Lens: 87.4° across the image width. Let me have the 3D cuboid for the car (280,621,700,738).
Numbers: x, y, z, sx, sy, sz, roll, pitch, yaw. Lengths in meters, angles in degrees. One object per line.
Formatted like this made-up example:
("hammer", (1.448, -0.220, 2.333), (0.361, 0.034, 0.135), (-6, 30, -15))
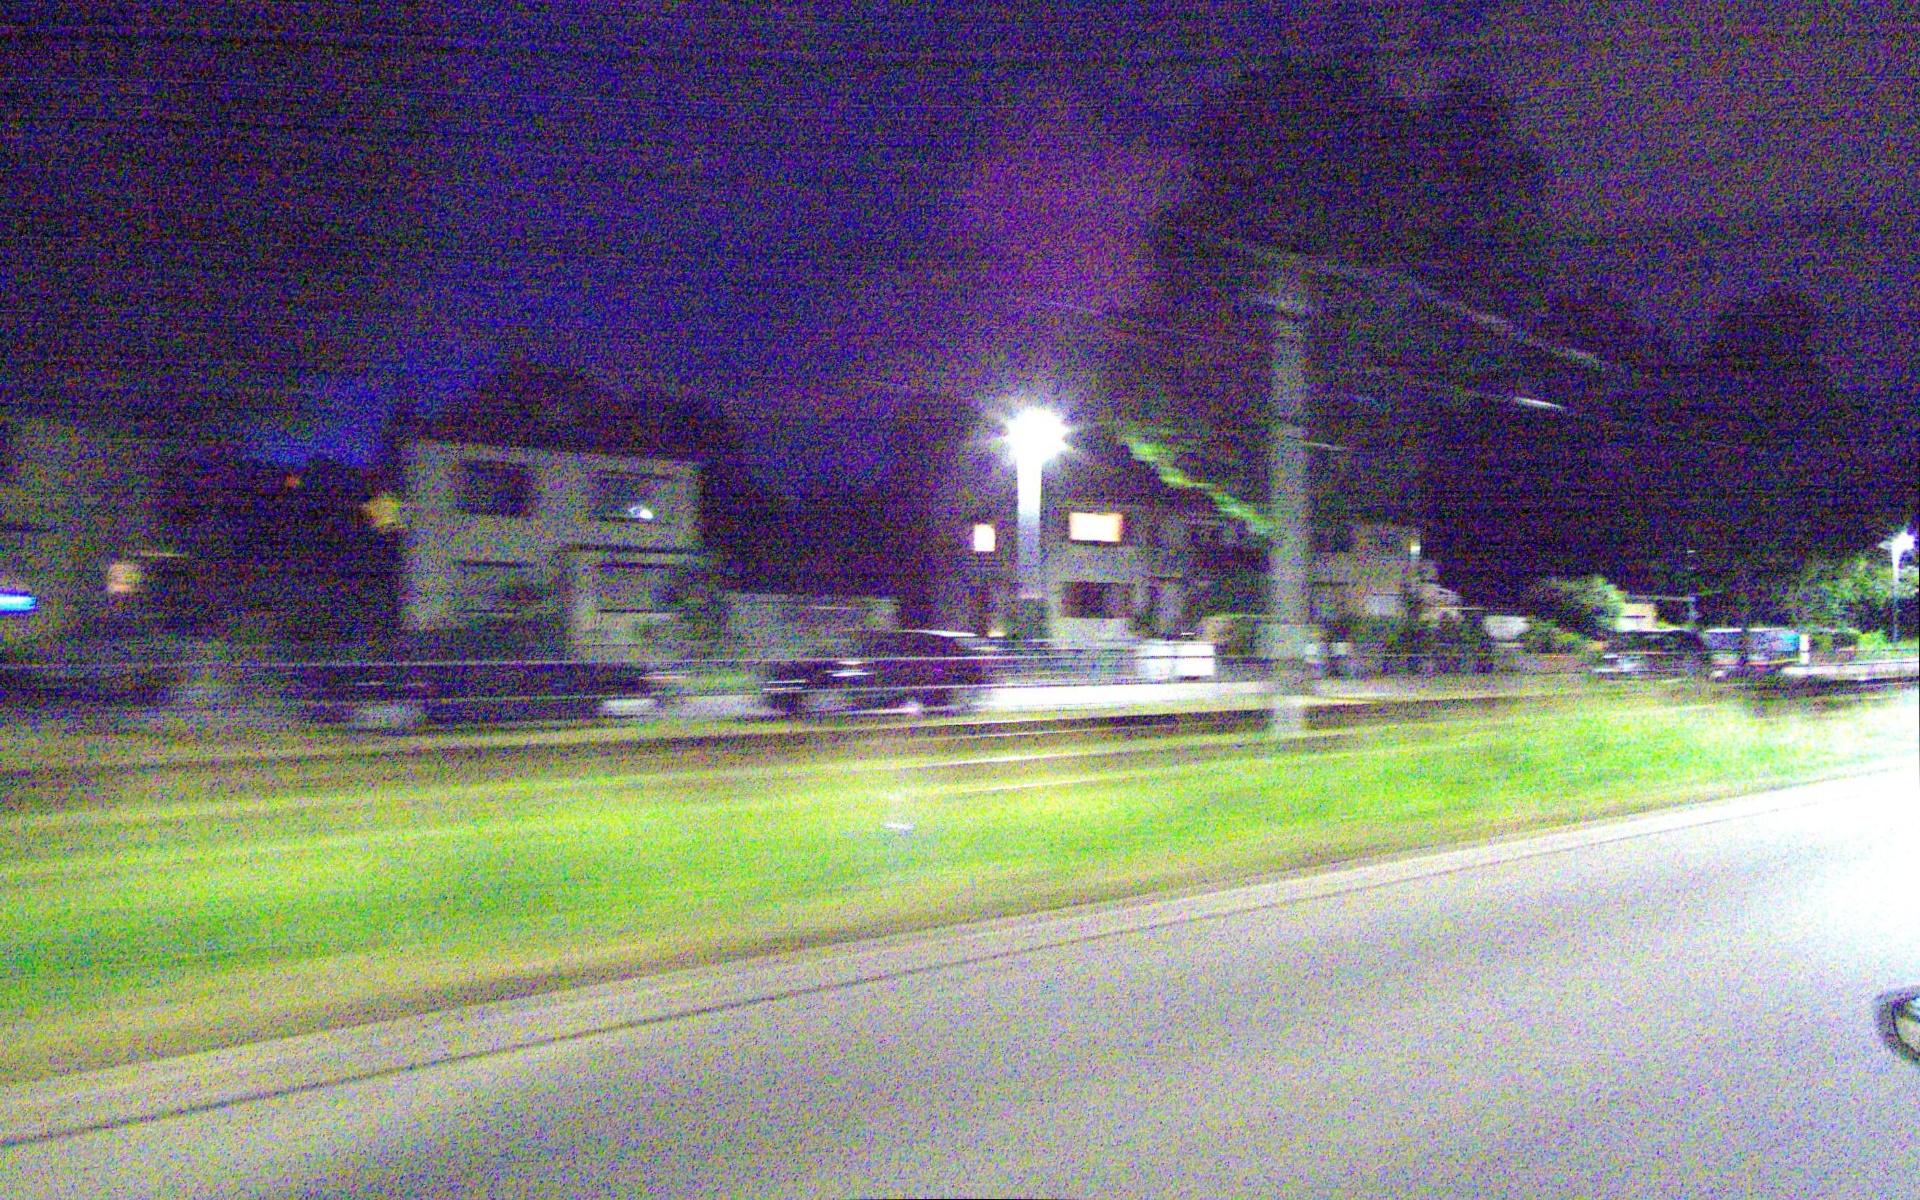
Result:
("car", (-6.278, 1.083, 13.878), (4.921, 1.382, 1.894), (2, -5, -28))

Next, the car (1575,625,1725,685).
("car", (20.181, 1.597, 29.361), (4.477, 1.598, 1.710), (2, -1, -27))

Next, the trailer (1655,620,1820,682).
("trailer", (24.648, 1.615, 31.812), (5.603, 1.804, 2.017), (1, -3, -28))

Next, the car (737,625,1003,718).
("car", (-1.456, 1.186, 16.726), (4.097, 1.382, 1.721), (2, -5, -30))

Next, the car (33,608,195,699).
("car", (-16.852, 0.998, 20.208), (1.868, 1.563, 3.965), (2, 0, -32))
